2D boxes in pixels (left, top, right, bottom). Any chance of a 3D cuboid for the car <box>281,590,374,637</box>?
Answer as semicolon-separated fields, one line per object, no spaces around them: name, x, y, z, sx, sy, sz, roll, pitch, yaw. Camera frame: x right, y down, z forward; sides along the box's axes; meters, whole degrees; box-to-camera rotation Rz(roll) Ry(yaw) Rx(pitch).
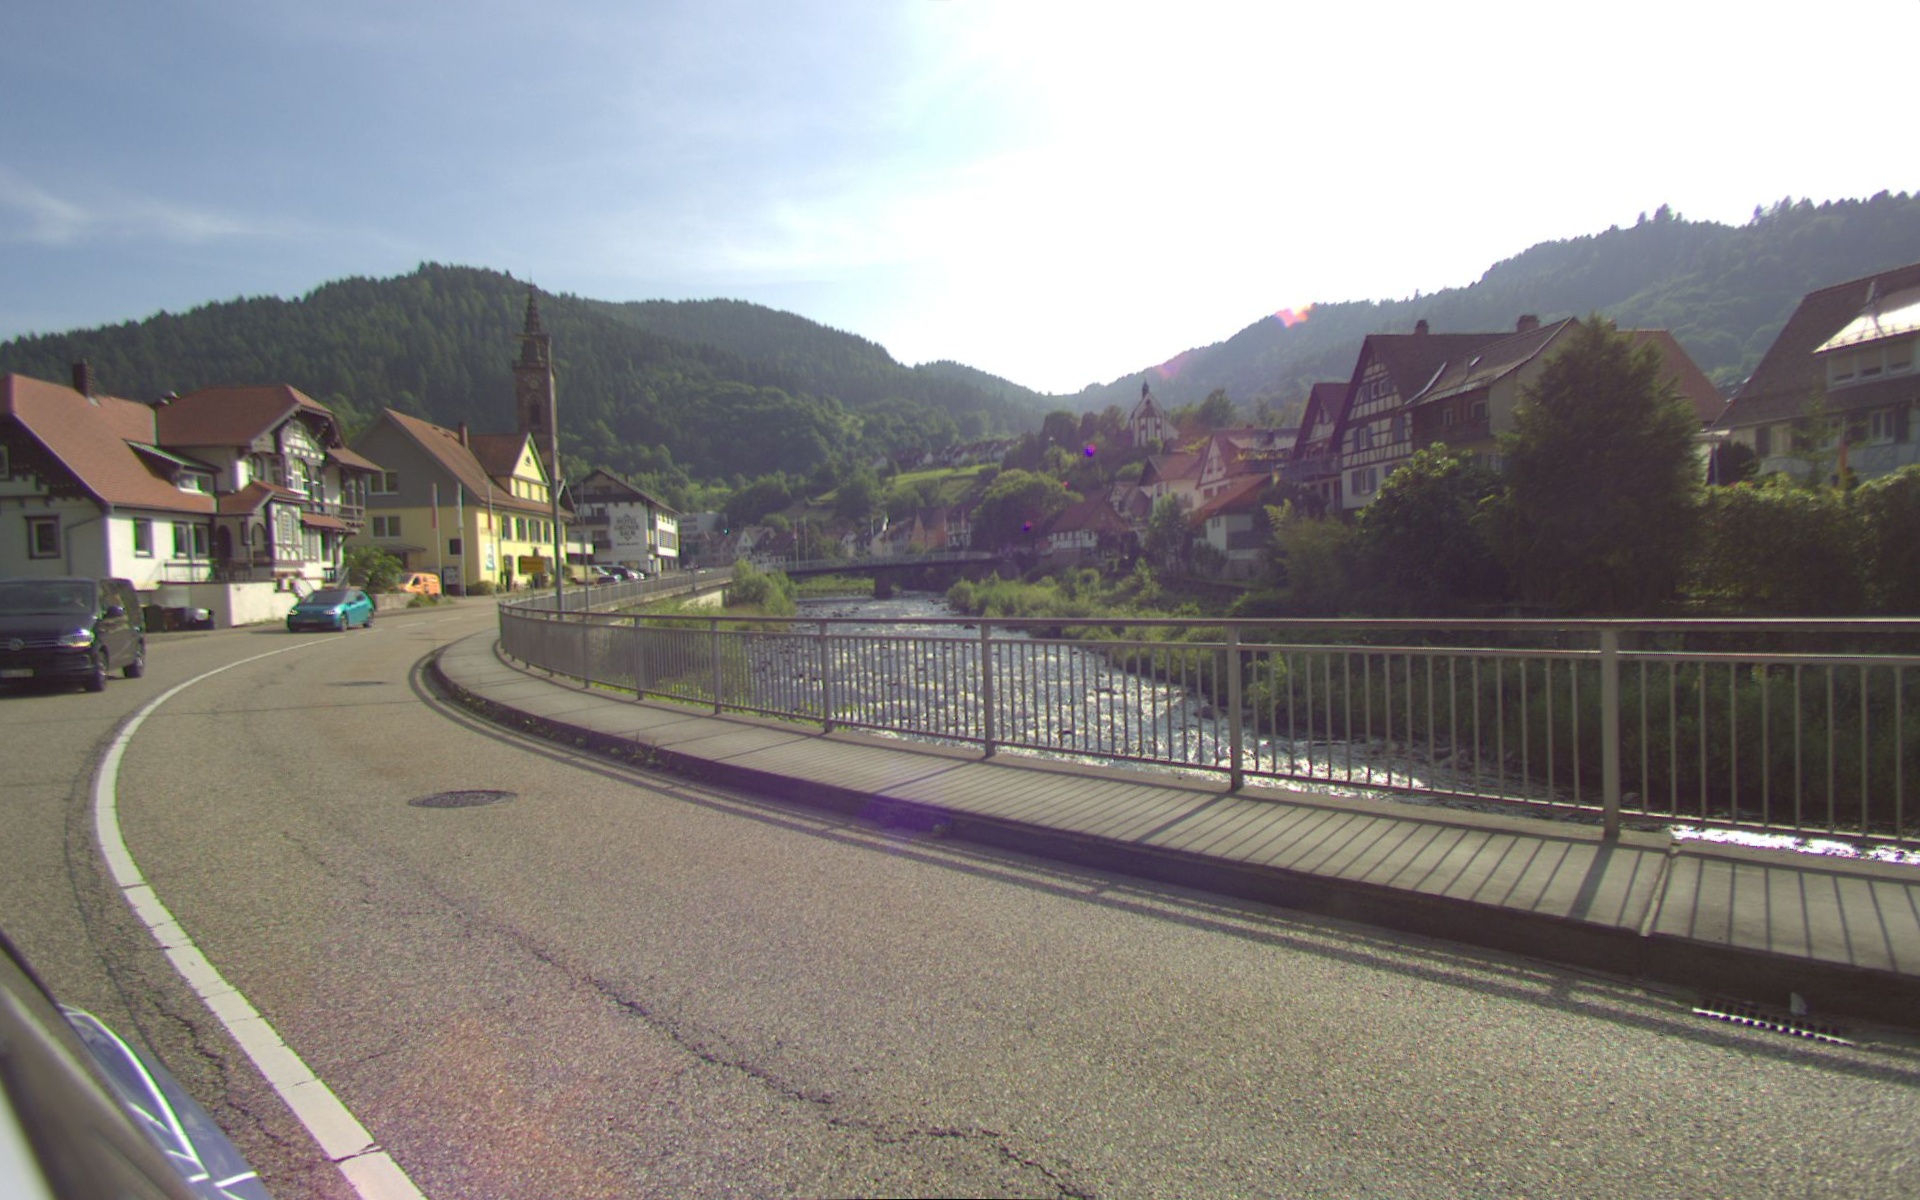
car;-23.550;0.464;37.827;1.656;1.533;3.875;-1;2;-11

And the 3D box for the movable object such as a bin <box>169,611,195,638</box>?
movable object such as a bin;-28.668;0.898;37.298;0.465;0.943;0.654;-3;2;-10

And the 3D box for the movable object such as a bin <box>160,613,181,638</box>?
movable object such as a bin;-29.179;0.942;37.408;0.362;0.906;0.549;-3;2;-16

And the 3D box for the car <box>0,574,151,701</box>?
car;-16.083;0.569;17.998;1.856;1.979;4.881;0;0;-29

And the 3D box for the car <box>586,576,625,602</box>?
car;-24.556;-0.775;70.205;1.792;1.655;4.008;2;1;-9

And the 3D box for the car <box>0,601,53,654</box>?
car;-29.089;0.886;29.169;1.838;1.480;4.267;-2;1;45

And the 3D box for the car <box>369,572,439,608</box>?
car;-32.944;-0.616;60.124;1.885;2.012;4.841;2;1;-5

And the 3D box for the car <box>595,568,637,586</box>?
car;-36.729;-2.431;108.081;3.941;1.896;1.686;1;2;-2

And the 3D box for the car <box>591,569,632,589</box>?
car;-36.305;-2.161;105.488;3.703;1.907;1.373;2;2;-3

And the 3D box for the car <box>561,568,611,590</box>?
car;-37.879;-2.119;102.627;4.392;1.973;1.715;3;2;-3
